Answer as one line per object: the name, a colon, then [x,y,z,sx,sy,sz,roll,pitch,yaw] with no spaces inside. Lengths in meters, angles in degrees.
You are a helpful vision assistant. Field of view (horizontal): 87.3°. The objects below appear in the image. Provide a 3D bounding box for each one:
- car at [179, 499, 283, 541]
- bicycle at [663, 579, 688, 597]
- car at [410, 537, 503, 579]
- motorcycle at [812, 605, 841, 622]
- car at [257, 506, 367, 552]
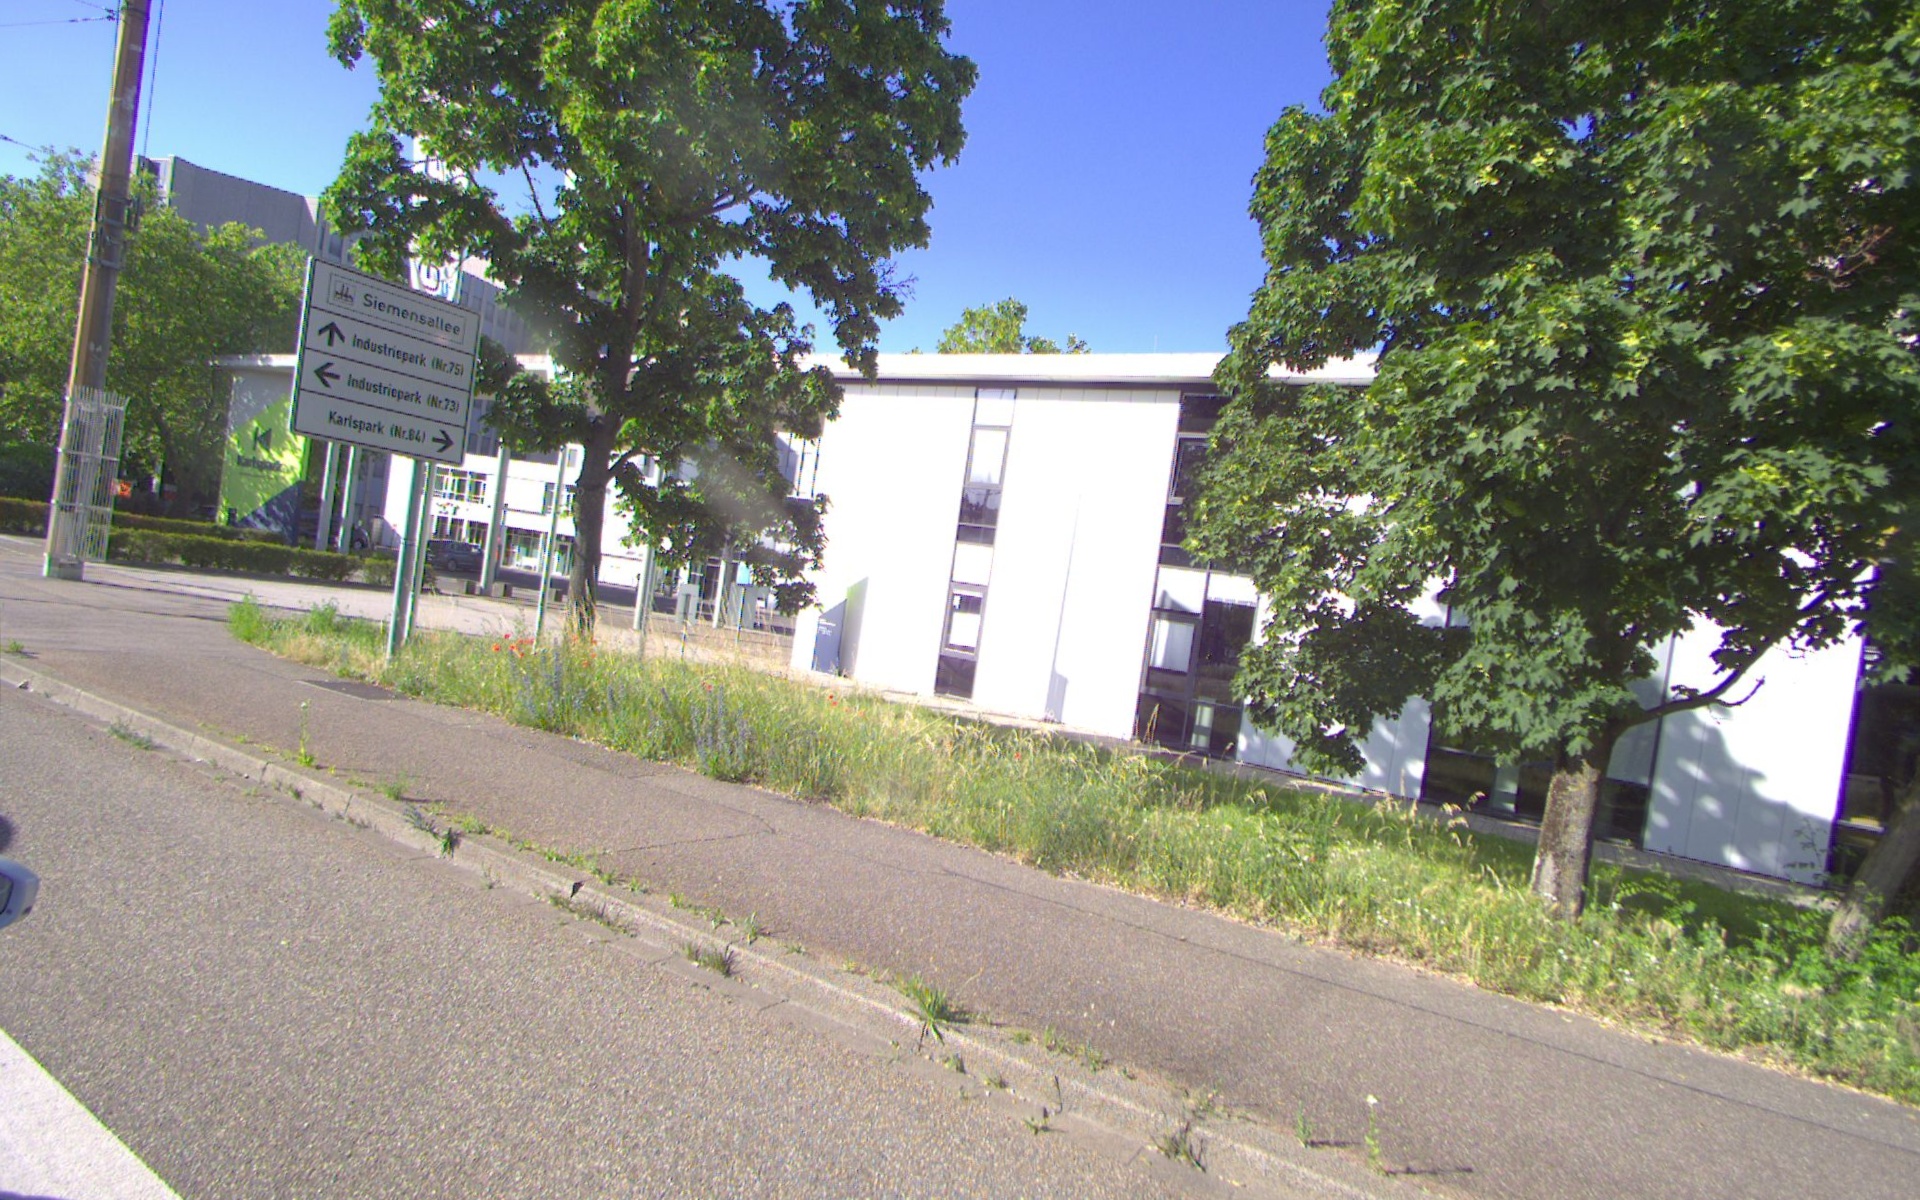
car: [-42.668,-4.641,58.961,1.861,1.706,4.468,8,-1,26]
bicycle: [-20.275,-0.869,71.667,1.591,1.016,0.566,8,0,17]
car: [-26.690,-2.212,53.448,1.918,1.597,4.000,8,-1,23]
motorcycle: [-8.989,0.911,67.858,1.701,0.959,0.653,8,0,17]
car: [-36.292,-3.955,56.503,2.052,1.778,4.900,8,-1,17]
